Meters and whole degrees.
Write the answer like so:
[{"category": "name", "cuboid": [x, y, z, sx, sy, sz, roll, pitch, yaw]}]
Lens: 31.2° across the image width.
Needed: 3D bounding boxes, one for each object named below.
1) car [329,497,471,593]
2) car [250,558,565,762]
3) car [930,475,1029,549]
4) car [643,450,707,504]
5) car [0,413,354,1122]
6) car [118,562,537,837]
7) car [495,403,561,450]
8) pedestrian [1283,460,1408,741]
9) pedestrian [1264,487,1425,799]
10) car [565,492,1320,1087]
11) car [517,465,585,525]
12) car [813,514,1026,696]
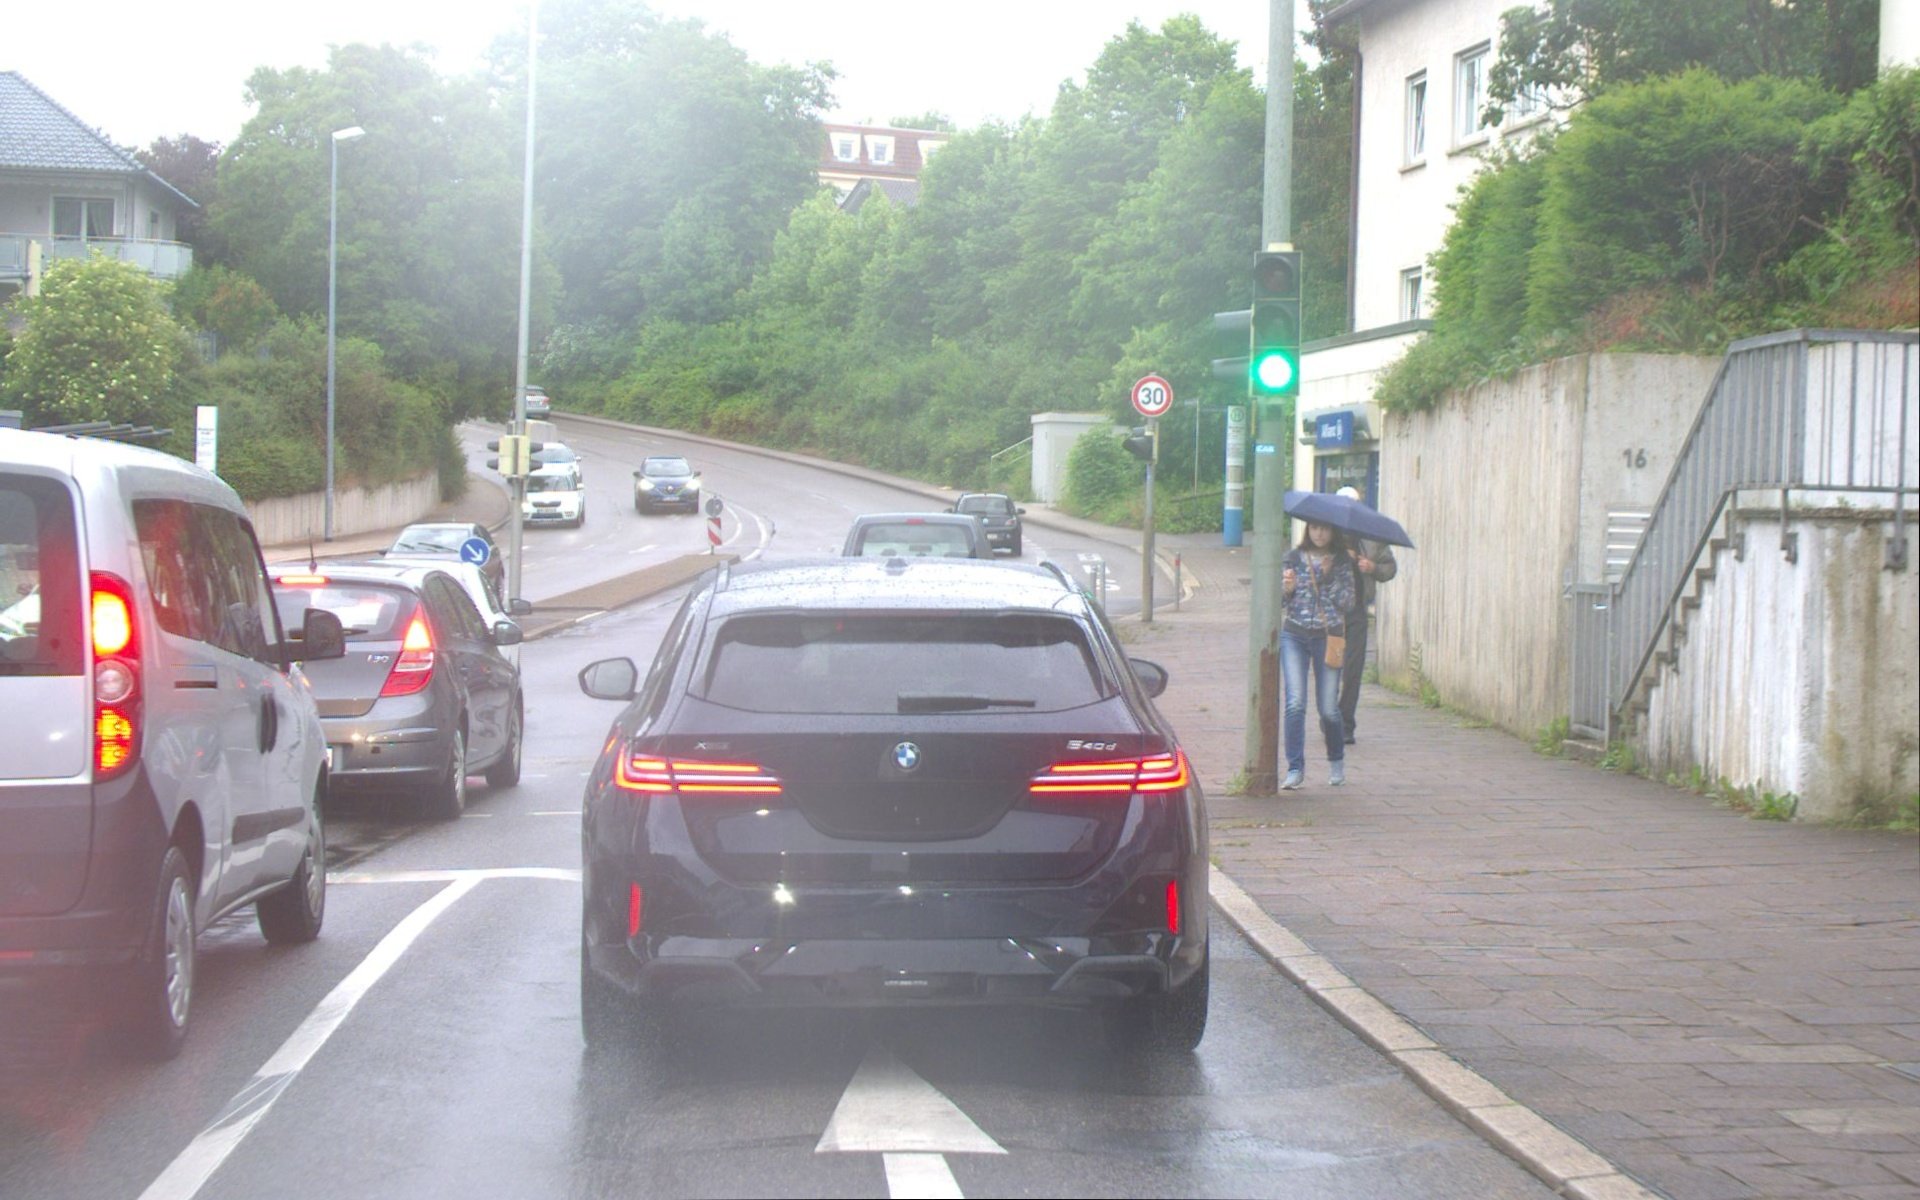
[{"category": "car", "cuboid": [-9.479, -0.908, 58.463, 1.993, 1.568, 4.000, 0, 0, -4]}, {"category": "car", "cuboid": [-4.420, 0.428, 28.177, 1.908, 1.523, 4.652, 0, 1, -1]}, {"category": "car", "cuboid": [0.440, -2.086, 81.005, 1.851, 1.656, 4.001, 1, 2, -6]}, {"category": "car", "cuboid": [-8.725, -3.743, 104.938, 1.841, 1.546, 4.385, 0, 1, -6]}, {"category": "car", "cuboid": [-3.256, 0.415, 11.374, 1.951, 1.864, 4.747, 0, 1, -4]}, {"category": "car", "cuboid": [-3.675, 0.522, 20.654, 1.835, 1.482, 4.059, 0, 1, -1]}, {"category": "car", "cuboid": [-20.095, -8.048, 159.933, 1.993, 2.007, 4.001, -1, 1, -23]}, {"category": "pedestrian", "cuboid": [2.797, 0.003, 25.001, 0.797, 2.007, 0.734, 1, 0, -1]}, {"category": "pedestrian", "cuboid": [2.240, 0.242, 20.141, 0.793, 1.774, 1.011, -1, 0, -1]}, {"category": "car", "cuboid": [-0.299, 0.541, 11.620, 1.993, 1.581, 4.664, 1, -1, -7]}, {"category": "car", "cuboid": [-11.767, -3.012, 99.179, 1.823, 1.651, 4.467, 0, 1, -5]}, {"category": "car", "cuboid": [-0.471, 0.022, 35.003, 1.993, 1.742, 4.001, 0, 1, -3]}]
